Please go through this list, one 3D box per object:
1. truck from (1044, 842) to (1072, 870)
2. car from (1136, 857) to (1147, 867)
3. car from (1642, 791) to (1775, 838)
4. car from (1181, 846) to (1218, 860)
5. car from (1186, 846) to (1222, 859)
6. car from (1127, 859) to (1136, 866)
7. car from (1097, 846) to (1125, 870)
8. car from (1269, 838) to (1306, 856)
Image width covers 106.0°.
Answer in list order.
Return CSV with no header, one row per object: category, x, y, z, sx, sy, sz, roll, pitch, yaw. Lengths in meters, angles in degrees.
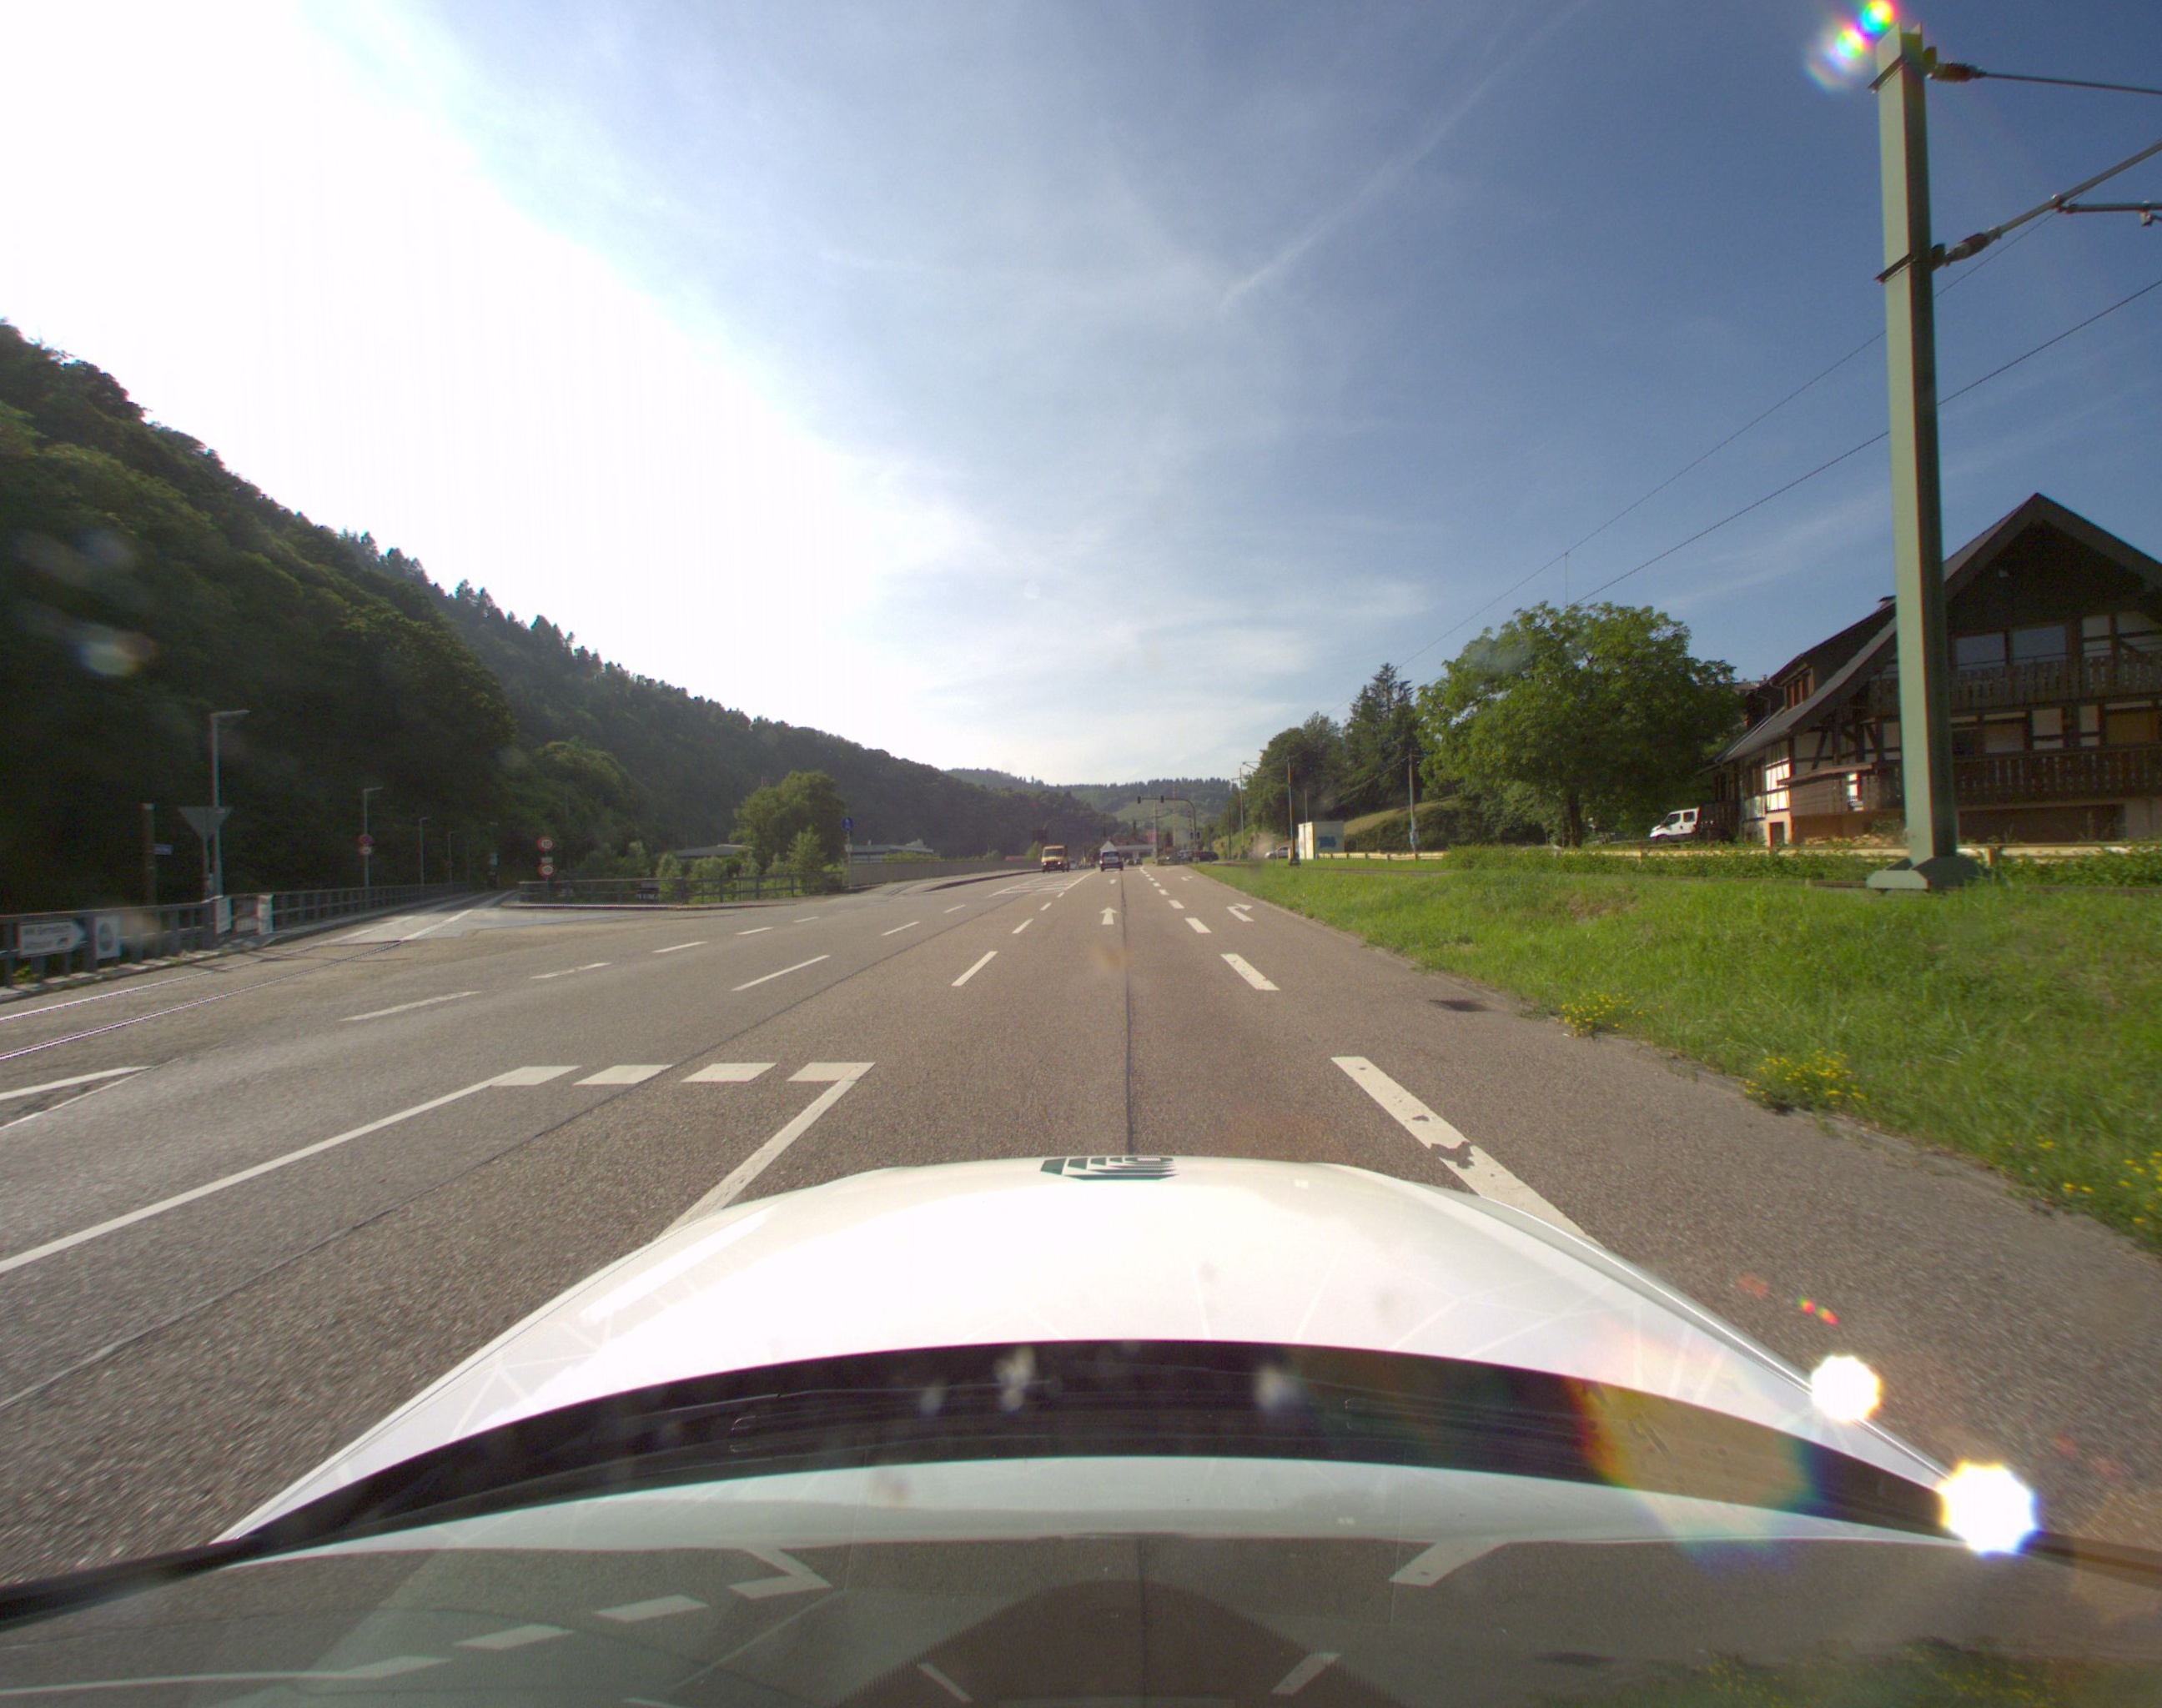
truck,-2.012,0.140,71.897,1.986,2.343,5.701,-3,0,2
car,13.195,1.760,177.838,1.986,2.013,4.002,-3,0,2
car,38.869,-2.384,50.617,2.392,2.330,5.975,-4,0,-31
car,13.735,-0.109,94.202,3.955,1.354,1.886,-3,0,17
car,14.594,-0.164,96.568,3.955,1.354,1.886,-3,0,17
car,11.853,1.967,191.998,1.986,1.618,4.002,-3,0,2
car,2.450,0.315,65.196,1.985,1.723,3.995,-4,0,4
car,24.050,-0.791,94.833,3.955,1.881,1.886,-3,0,17
